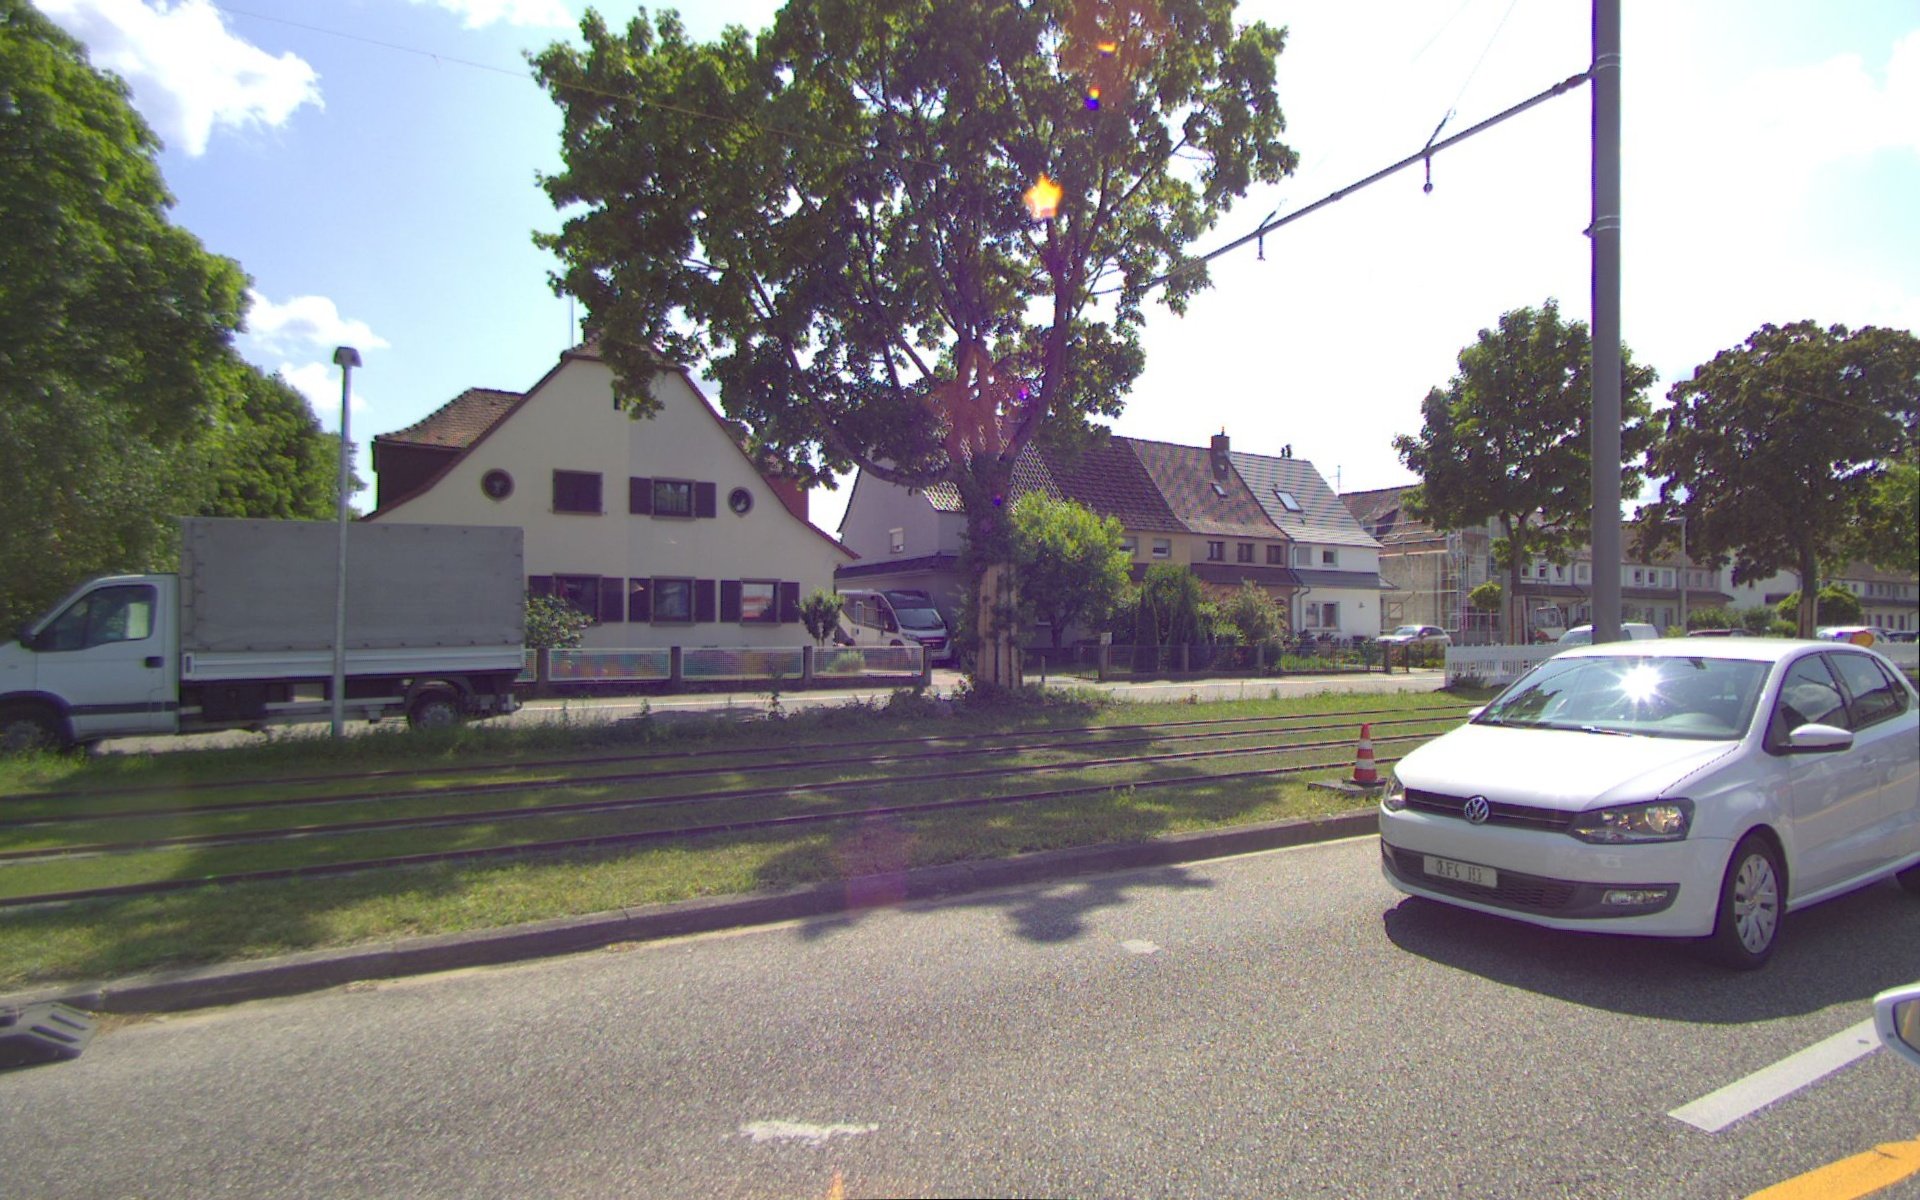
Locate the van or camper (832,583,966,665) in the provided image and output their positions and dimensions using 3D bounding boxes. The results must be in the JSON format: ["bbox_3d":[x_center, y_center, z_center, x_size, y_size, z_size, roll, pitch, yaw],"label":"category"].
[{"bbox_3d":[-2.351,0.905,36.648,2.224,2.745,5.963,1,-2,-33],"label":"van or camper"}]

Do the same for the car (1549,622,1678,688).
[{"bbox_3d":[19.500,1.602,29.957,3.814,1.841,1.691,1,-2,-30],"label":"car"}]

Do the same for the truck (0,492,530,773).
[{"bbox_3d":[-8.799,0.412,12.932,5.805,3.027,1.994,1,-2,-30],"label":"truck"}]

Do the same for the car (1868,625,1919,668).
[{"bbox_3d":[40.388,1.957,42.596,3.814,1.762,1.691,1,-2,-30],"label":"car"}]

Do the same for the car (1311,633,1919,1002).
[{"bbox_3d":[4.135,0.911,5.759,4.212,1.432,1.707,1,-2,-30],"label":"car"}]

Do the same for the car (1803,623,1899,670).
[{"bbox_3d":[34.965,1.800,39.409,3.814,1.762,1.691,1,-2,-30],"label":"car"}]

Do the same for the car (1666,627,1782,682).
[{"bbox_3d":[25.745,1.797,33.823,4.006,1.762,1.691,1,-2,-30],"label":"car"}]

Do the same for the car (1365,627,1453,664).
[{"bbox_3d":[19.889,1.990,44.476,3.814,1.614,1.691,1,-2,-30],"label":"car"}]
